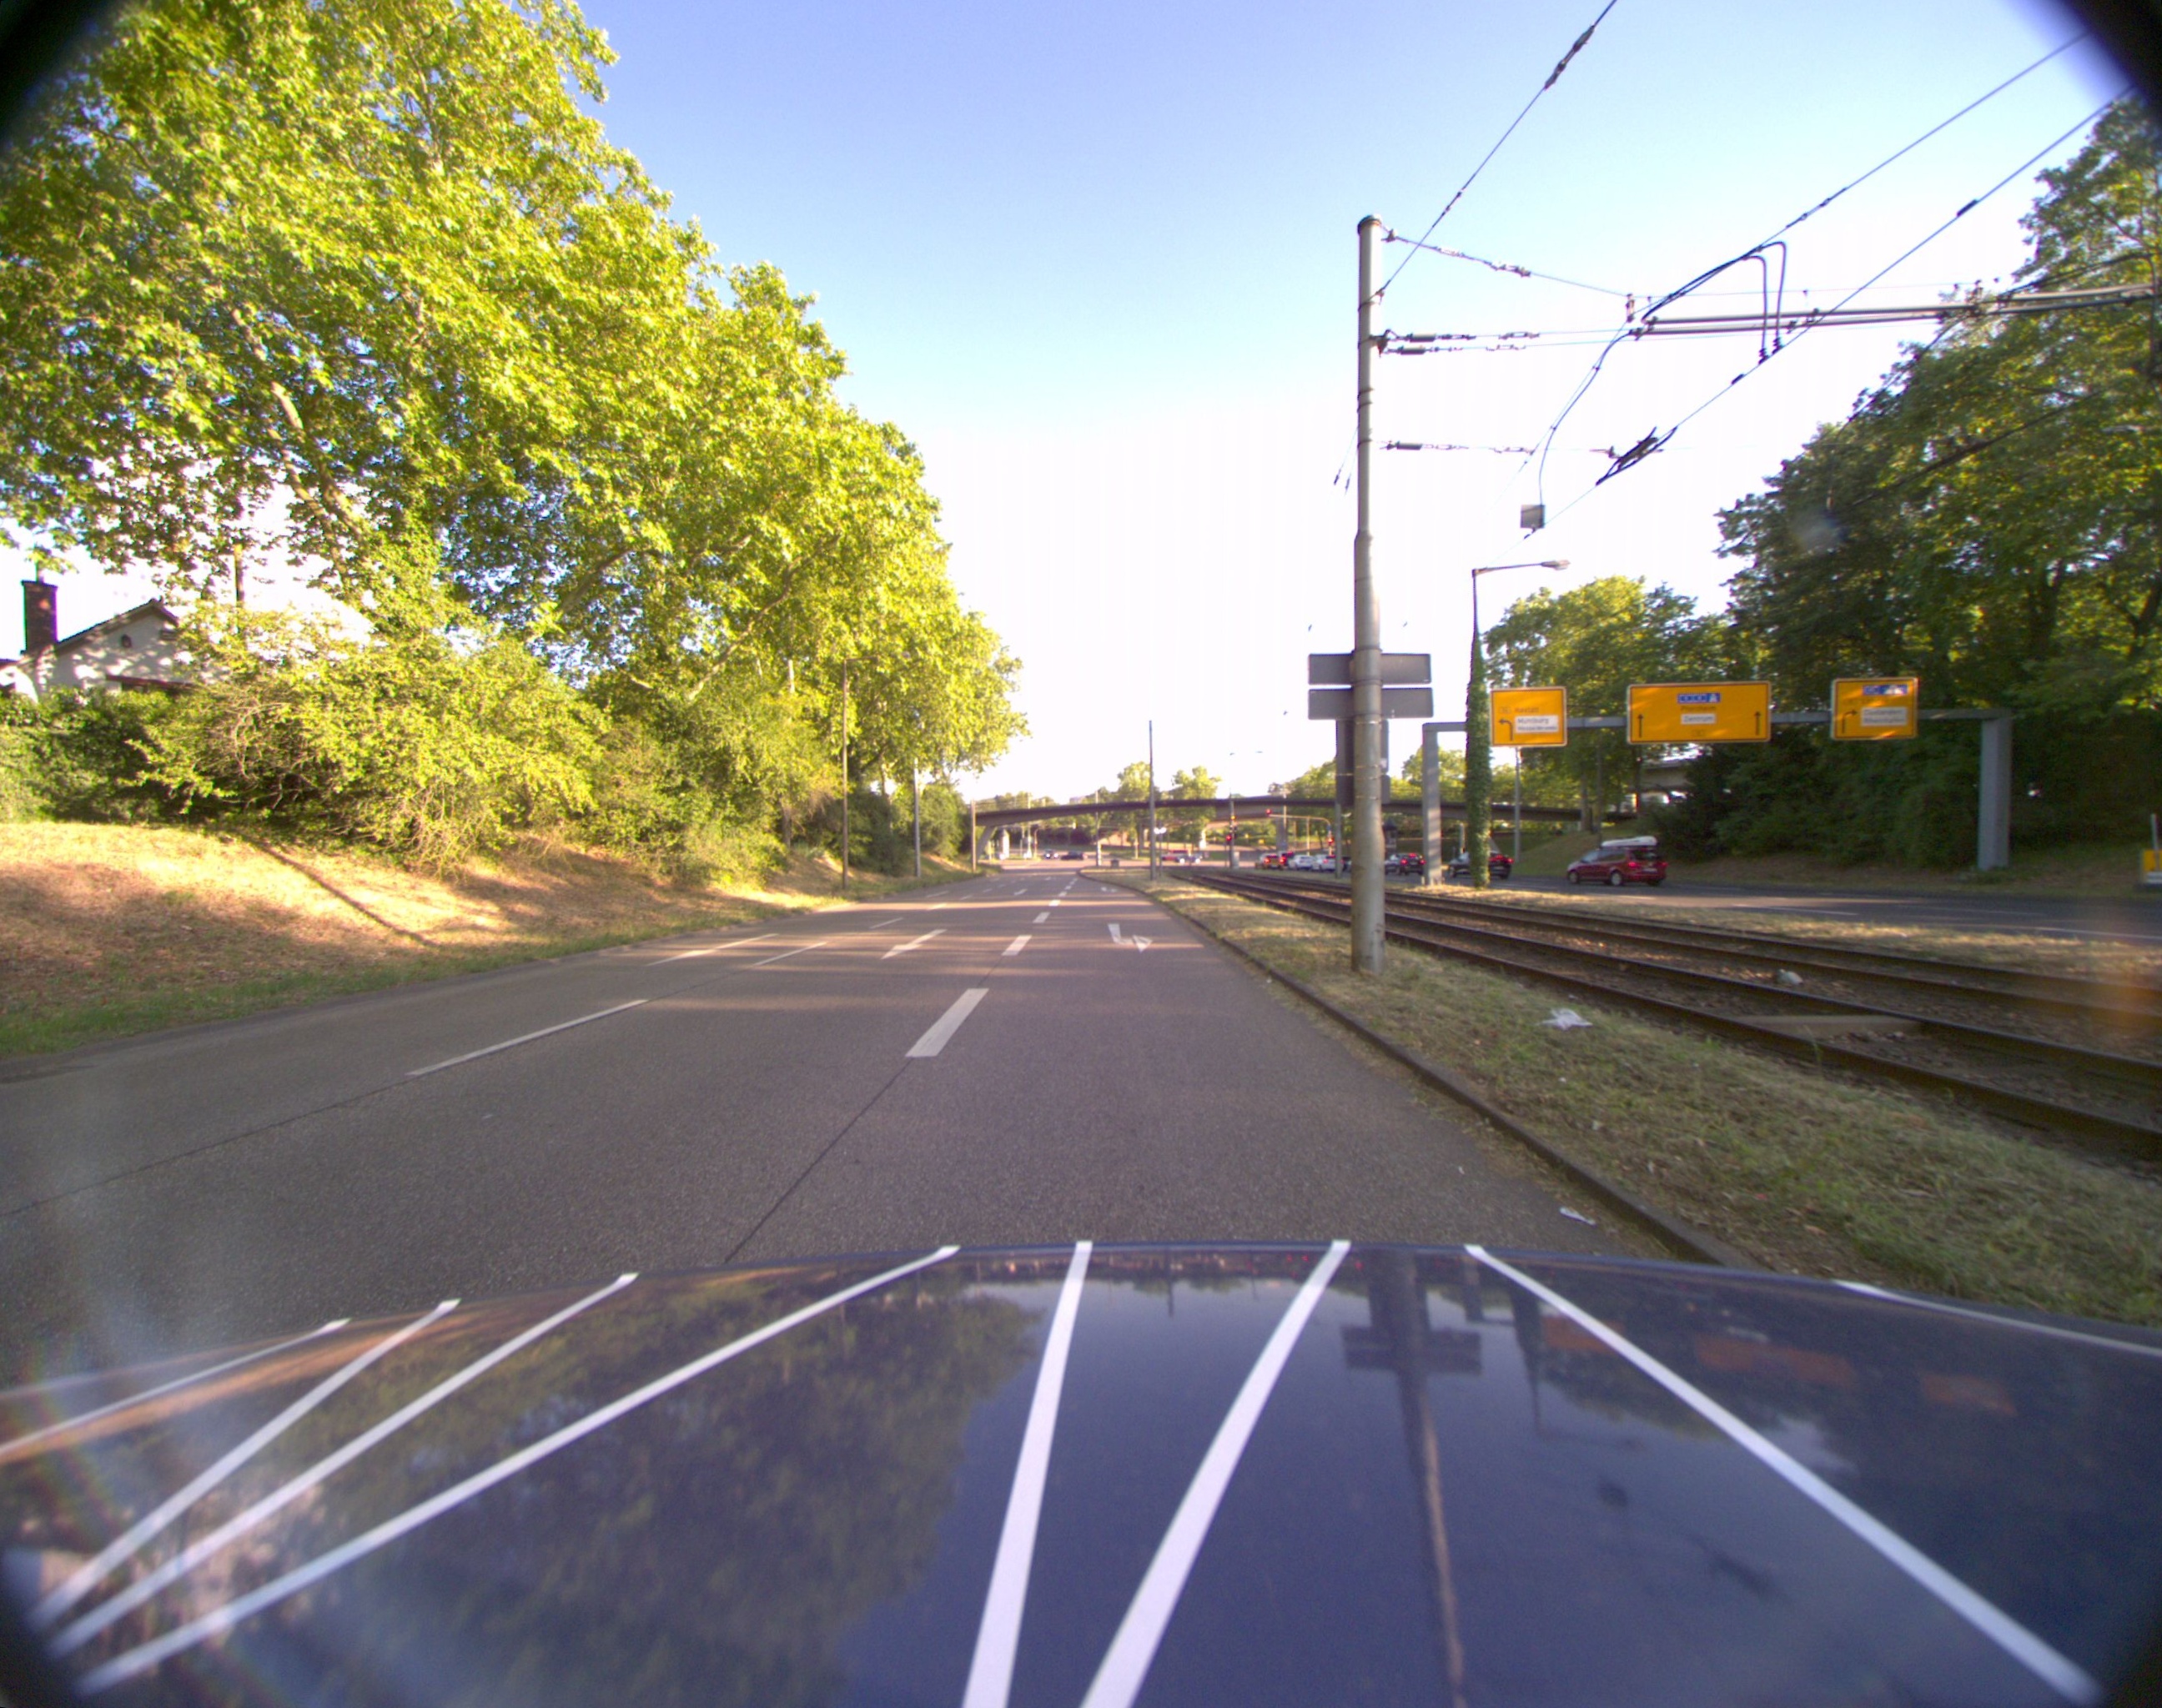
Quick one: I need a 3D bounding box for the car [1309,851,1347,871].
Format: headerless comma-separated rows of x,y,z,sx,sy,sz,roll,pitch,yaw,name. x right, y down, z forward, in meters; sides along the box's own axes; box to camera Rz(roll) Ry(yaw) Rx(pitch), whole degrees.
20.019,0.538,61.808,1.767,1.535,4.000,-1,0,0,car

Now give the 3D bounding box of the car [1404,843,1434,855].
46.531,-0.694,104.666,3.804,1.570,1.679,-2,1,24,car

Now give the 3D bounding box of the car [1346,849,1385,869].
23.958,0.412,64.075,1.813,1.535,4.000,-1,0,1,car

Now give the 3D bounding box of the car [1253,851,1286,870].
16.139,0.503,65.238,1.767,1.535,4.000,-1,0,0,car

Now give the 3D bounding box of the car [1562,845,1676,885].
23.073,0.426,32.821,1.842,1.625,4.311,0,0,0,car

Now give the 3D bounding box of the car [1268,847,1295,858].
30.289,-0.296,114.623,3.785,1.491,1.766,-2,1,18,car

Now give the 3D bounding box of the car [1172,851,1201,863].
15.377,0.413,110.894,3.792,1.491,1.762,-2,1,-9,car

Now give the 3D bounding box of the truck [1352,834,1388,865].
28.373,-0.443,74.802,2.281,2.862,6.886,-1,0,13,truck

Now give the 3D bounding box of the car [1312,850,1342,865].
24.939,0.368,77.171,1.917,1.416,4.228,-1,0,5,car

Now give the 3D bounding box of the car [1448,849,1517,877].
22.955,0.480,43.604,1.735,1.536,4.334,-1,0,1,car

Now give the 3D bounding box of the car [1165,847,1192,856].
15.563,-0.403,120.924,3.868,1.403,1.814,-2,1,20,car

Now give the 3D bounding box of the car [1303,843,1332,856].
34.438,-0.678,110.644,3.805,1.717,1.679,-2,1,20,car

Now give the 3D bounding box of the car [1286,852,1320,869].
19.849,0.527,68.087,1.918,1.416,4.227,-1,0,2,car

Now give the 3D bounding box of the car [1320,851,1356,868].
23.729,0.480,70.212,1.868,1.416,4.226,-1,0,0,car

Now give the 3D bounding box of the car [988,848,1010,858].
-14.349,-0.196,133.010,3.364,1.560,1.613,-2,0,17,car

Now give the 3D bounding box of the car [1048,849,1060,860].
-4.916,0.076,139.203,1.960,1.779,3.998,-2,0,-5,car

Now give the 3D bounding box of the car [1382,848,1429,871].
23.157,0.396,54.332,1.755,1.548,3.973,0,0,1,car

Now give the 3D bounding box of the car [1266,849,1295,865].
19.572,0.260,74.744,1.917,1.540,4.227,-1,0,4,car
